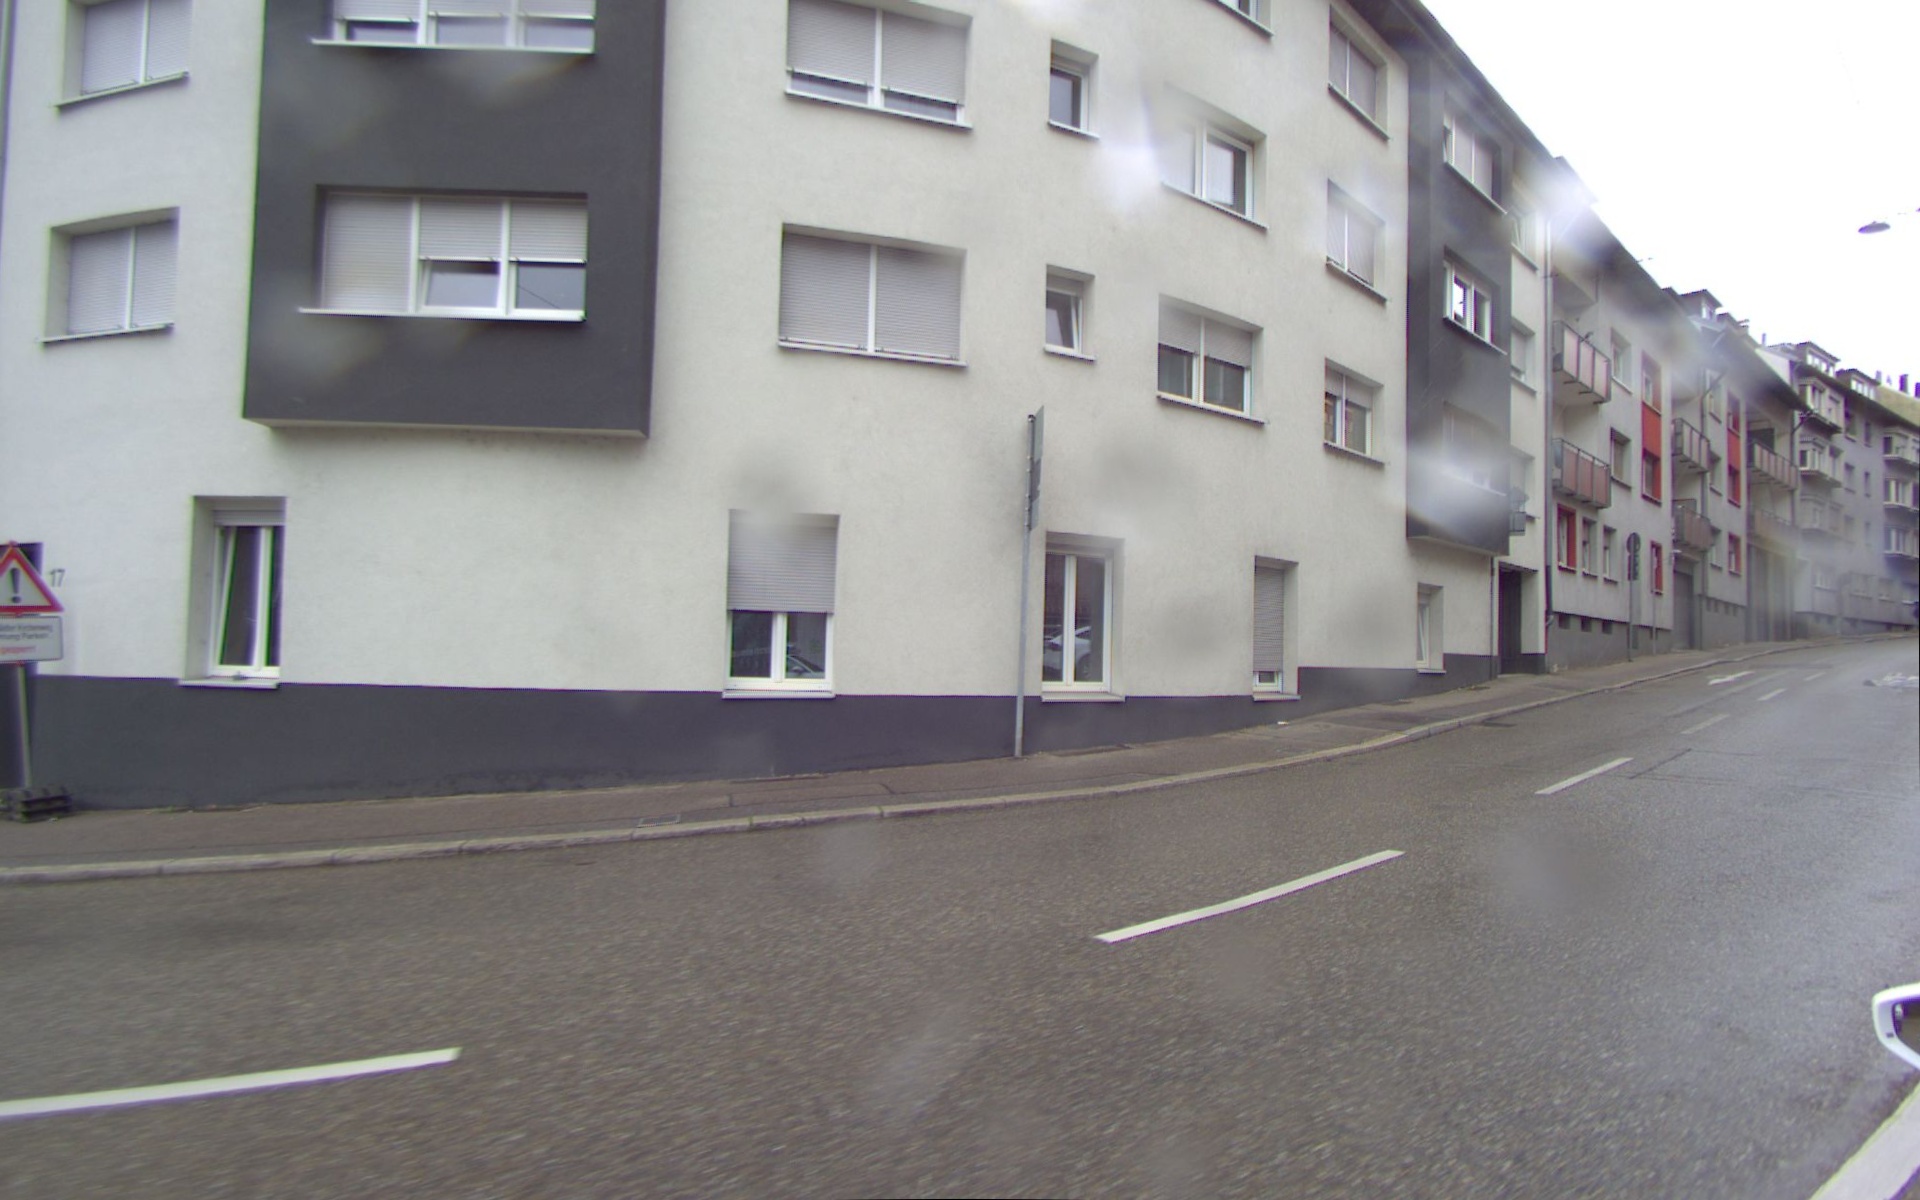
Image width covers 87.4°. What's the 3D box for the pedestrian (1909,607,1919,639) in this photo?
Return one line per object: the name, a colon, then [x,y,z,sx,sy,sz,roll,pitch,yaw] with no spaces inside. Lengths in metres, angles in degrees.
pedestrian: [54.832,1.320,57.583,0.616,1.799,0.519,0,-1,-37]
